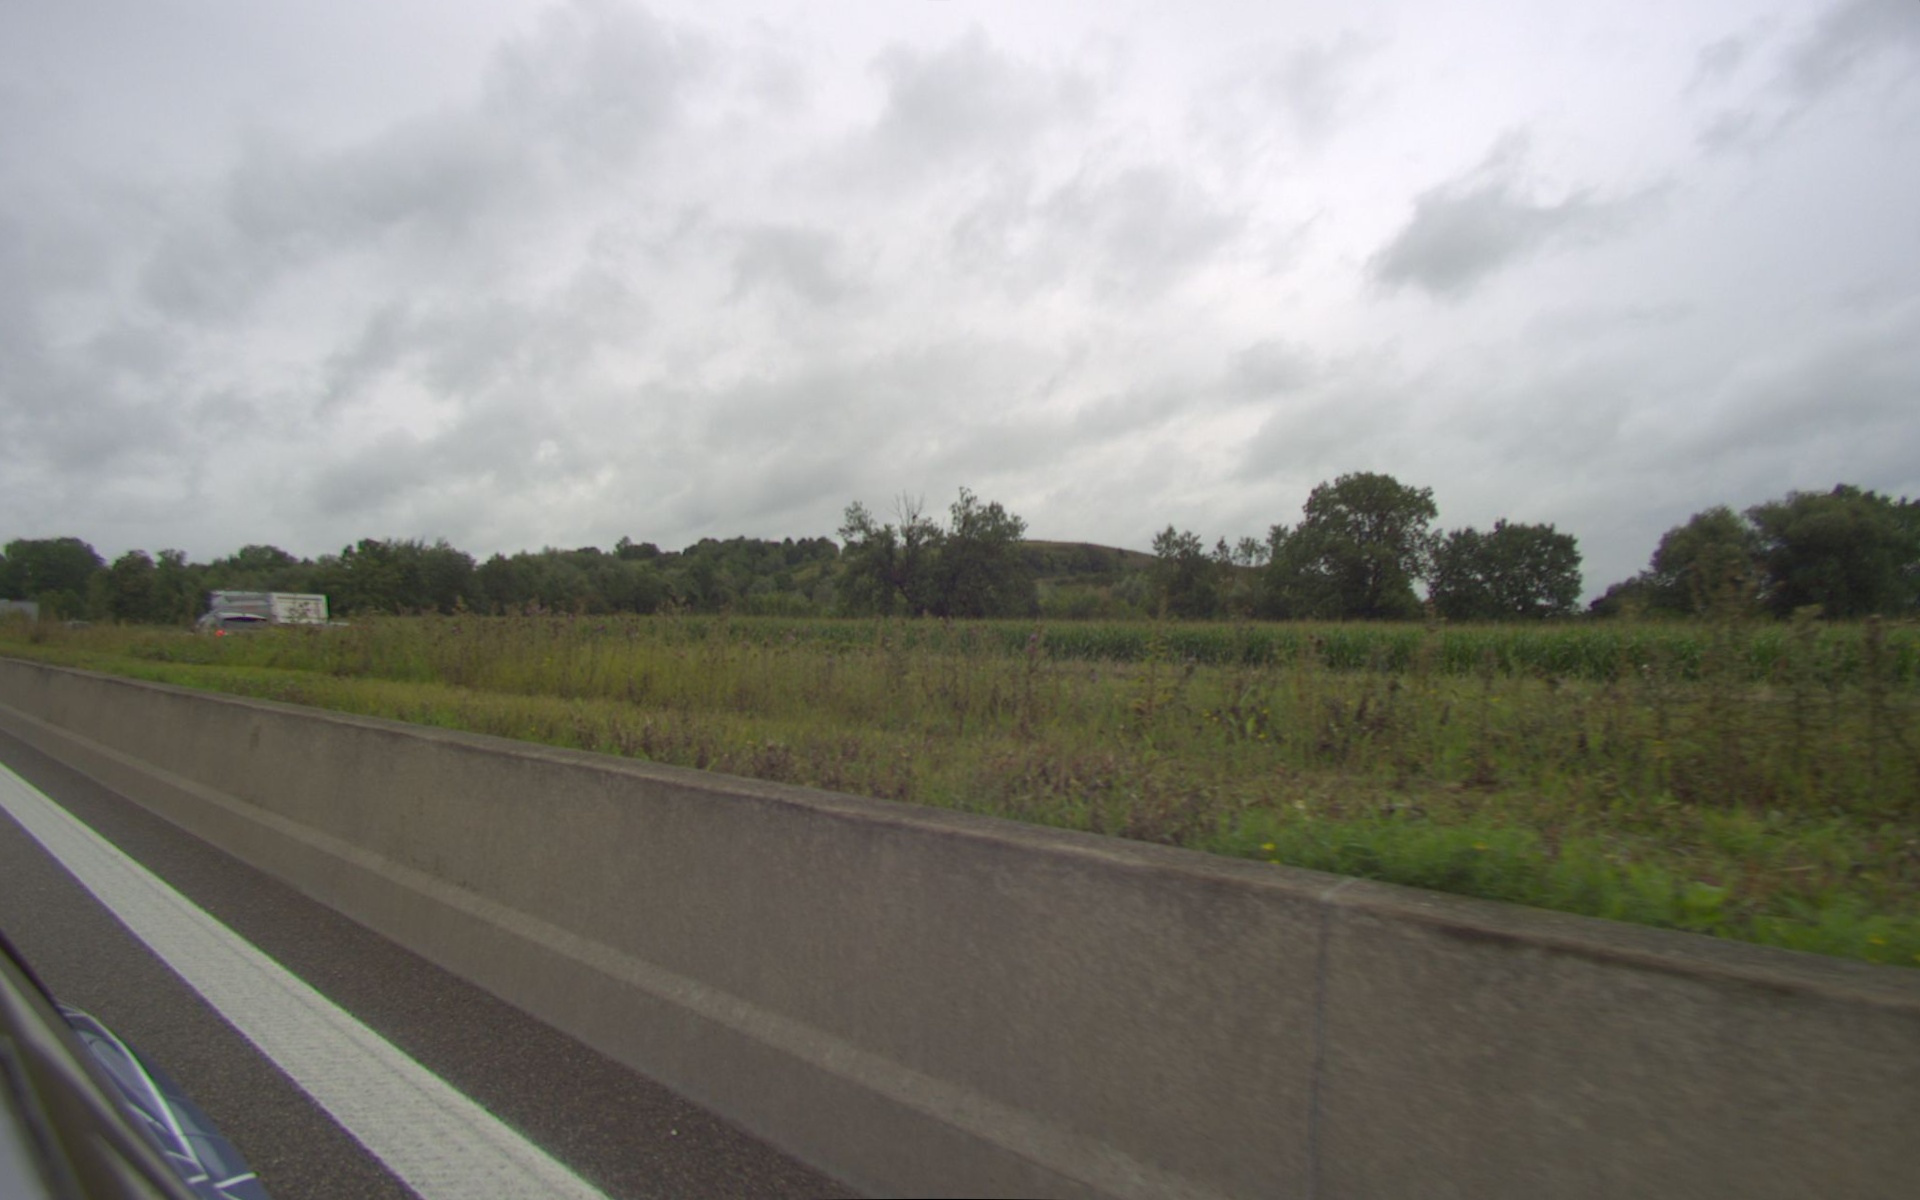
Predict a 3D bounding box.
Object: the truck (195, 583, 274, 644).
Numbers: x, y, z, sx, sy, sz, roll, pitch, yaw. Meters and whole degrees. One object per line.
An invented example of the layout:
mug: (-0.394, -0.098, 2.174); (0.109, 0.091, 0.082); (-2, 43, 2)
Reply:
truck: (-42.162, 0.768, 58.760); (4.518, 3.369, 2.728); (-1, 0, 40)

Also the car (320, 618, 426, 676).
car: (-20.122, 1.562, 34.627); (3.998, 1.863, 1.973); (-1, -1, 41)

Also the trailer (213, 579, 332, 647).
trailer: (-37.120, 0.686, 54.471); (9.920, 3.353, 2.759); (-1, 0, 40)

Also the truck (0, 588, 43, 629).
truck: (-107.090, 0.951, 114.155); (16.889, 4.375, 3.291); (-1, 0, 41)

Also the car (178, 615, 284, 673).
car: (-22.857, 1.332, 31.681); (3.998, 1.697, 1.863); (-1, -1, 41)
